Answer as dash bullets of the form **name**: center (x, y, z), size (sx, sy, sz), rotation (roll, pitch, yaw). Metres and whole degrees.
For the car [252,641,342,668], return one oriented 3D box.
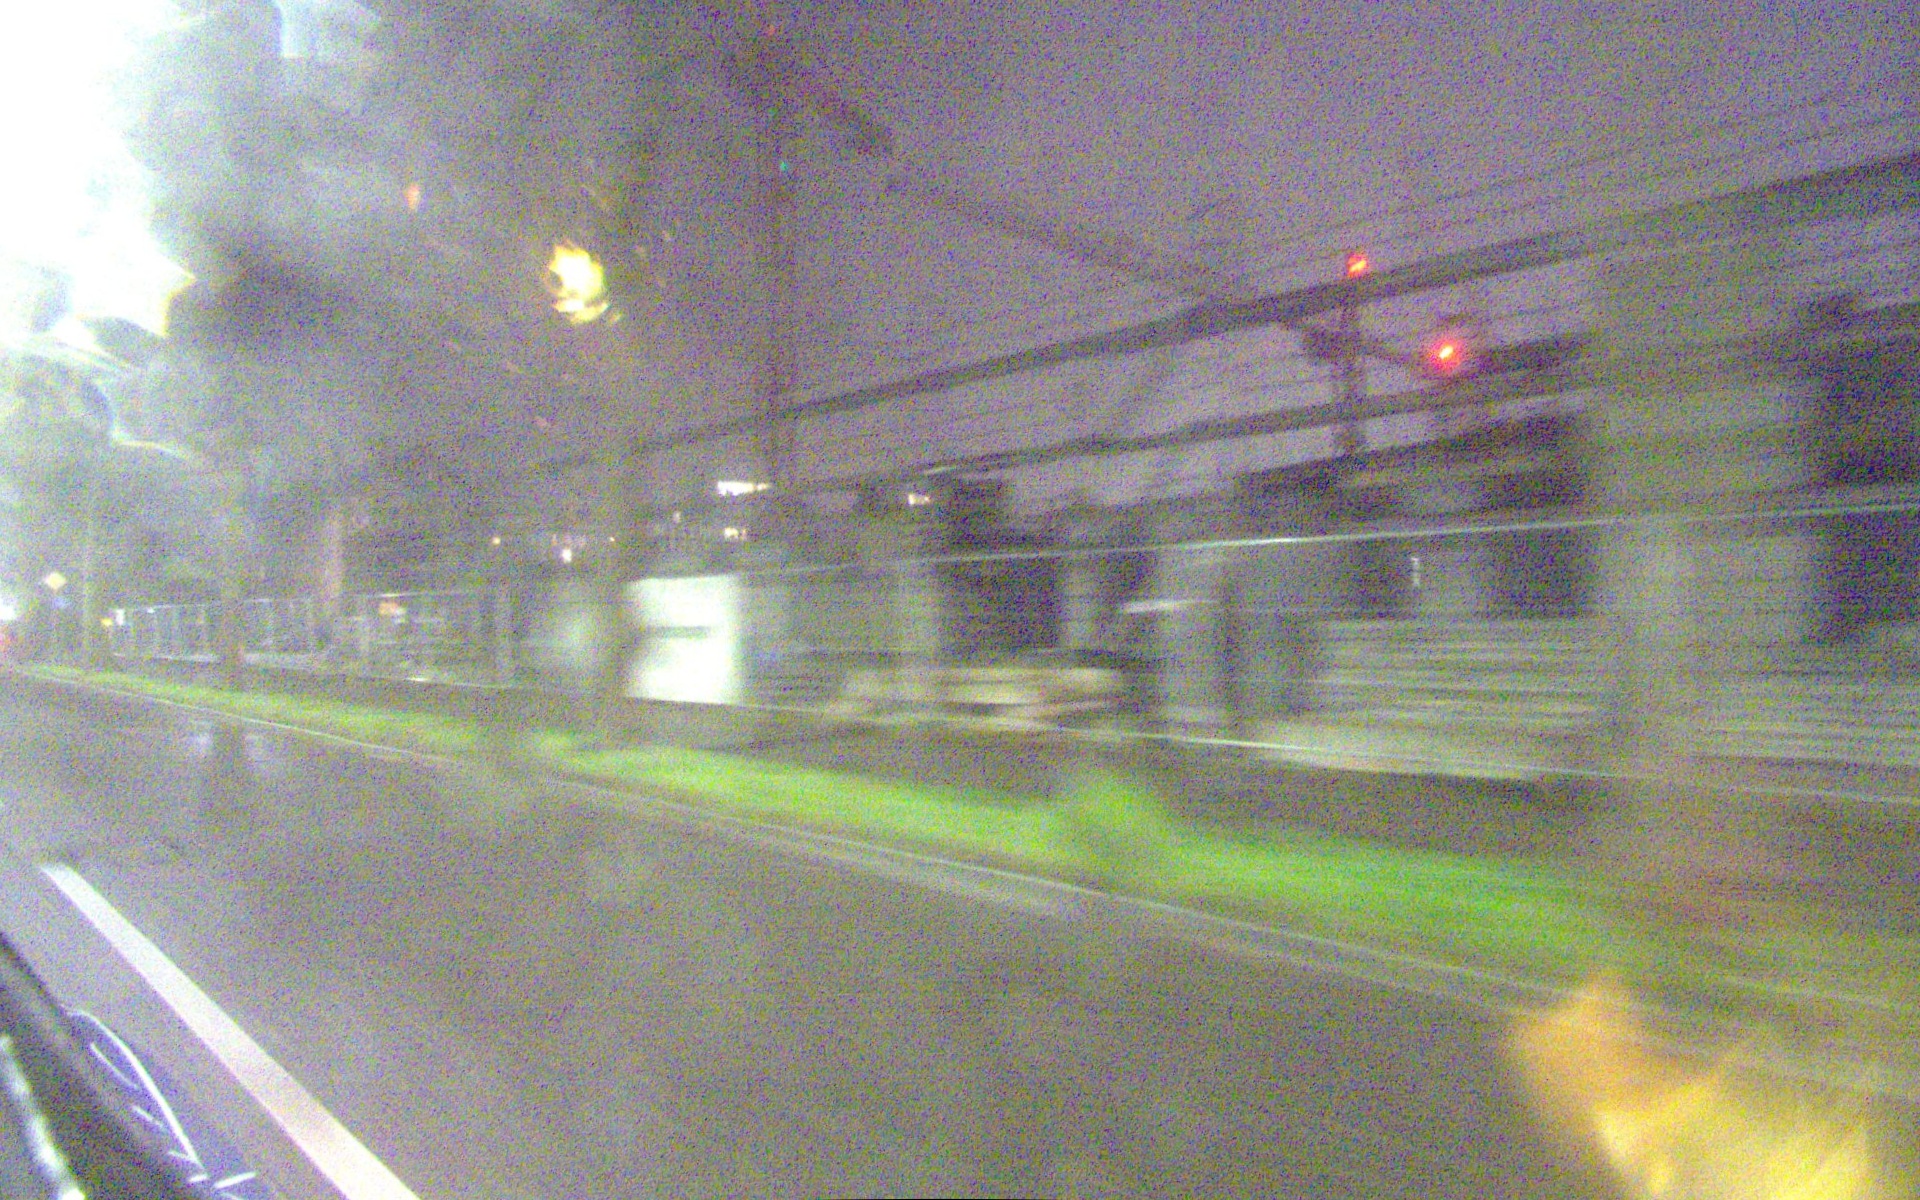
- **car**: center (-37.681, 3.071, 57.581), size (4.028, 1.381, 1.495), rotation (2, 1, -44)
